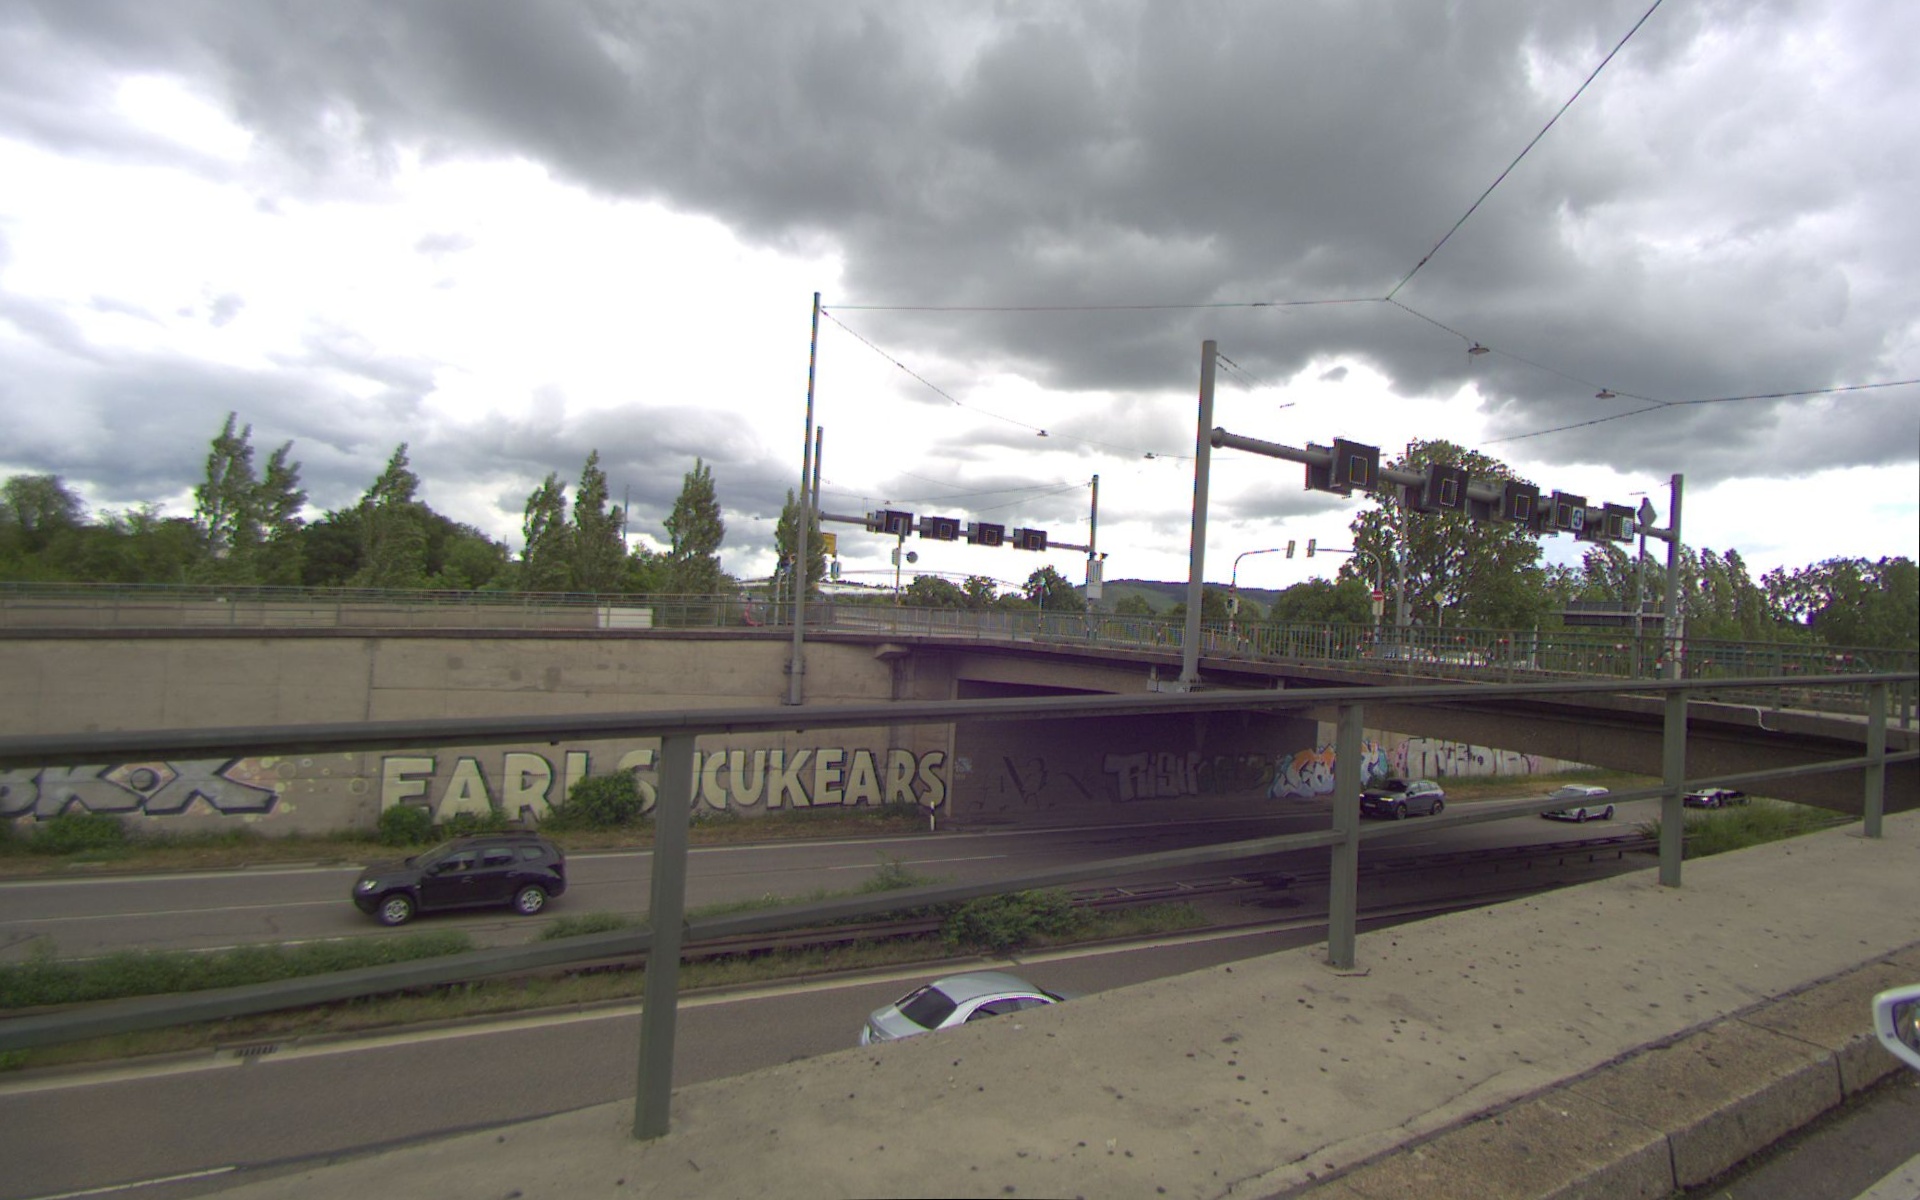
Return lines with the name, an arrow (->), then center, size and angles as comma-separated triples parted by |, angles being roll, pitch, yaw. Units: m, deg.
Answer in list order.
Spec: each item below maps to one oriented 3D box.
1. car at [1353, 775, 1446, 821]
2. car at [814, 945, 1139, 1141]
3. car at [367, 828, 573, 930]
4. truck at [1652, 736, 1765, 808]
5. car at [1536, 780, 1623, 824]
car -> 19.865, 8.903, 45.362 | 4.206, 1.691, 1.703 | 5, -3, -30
car -> 0.286, 6.328, 14.784 | 4.386, 1.591, 1.842 | 5, -3, -29
car -> -10.949, 6.177, 22.557 | 3.954, 1.641, 1.657 | 4, -4, -30
truck -> 41.897, 9.485, 56.143 | 8.047, 3.506, 2.498 | 5, -3, -34
car -> 29.252, 9.467, 47.376 | 4.444, 1.632, 1.671 | 4, -3, -32
